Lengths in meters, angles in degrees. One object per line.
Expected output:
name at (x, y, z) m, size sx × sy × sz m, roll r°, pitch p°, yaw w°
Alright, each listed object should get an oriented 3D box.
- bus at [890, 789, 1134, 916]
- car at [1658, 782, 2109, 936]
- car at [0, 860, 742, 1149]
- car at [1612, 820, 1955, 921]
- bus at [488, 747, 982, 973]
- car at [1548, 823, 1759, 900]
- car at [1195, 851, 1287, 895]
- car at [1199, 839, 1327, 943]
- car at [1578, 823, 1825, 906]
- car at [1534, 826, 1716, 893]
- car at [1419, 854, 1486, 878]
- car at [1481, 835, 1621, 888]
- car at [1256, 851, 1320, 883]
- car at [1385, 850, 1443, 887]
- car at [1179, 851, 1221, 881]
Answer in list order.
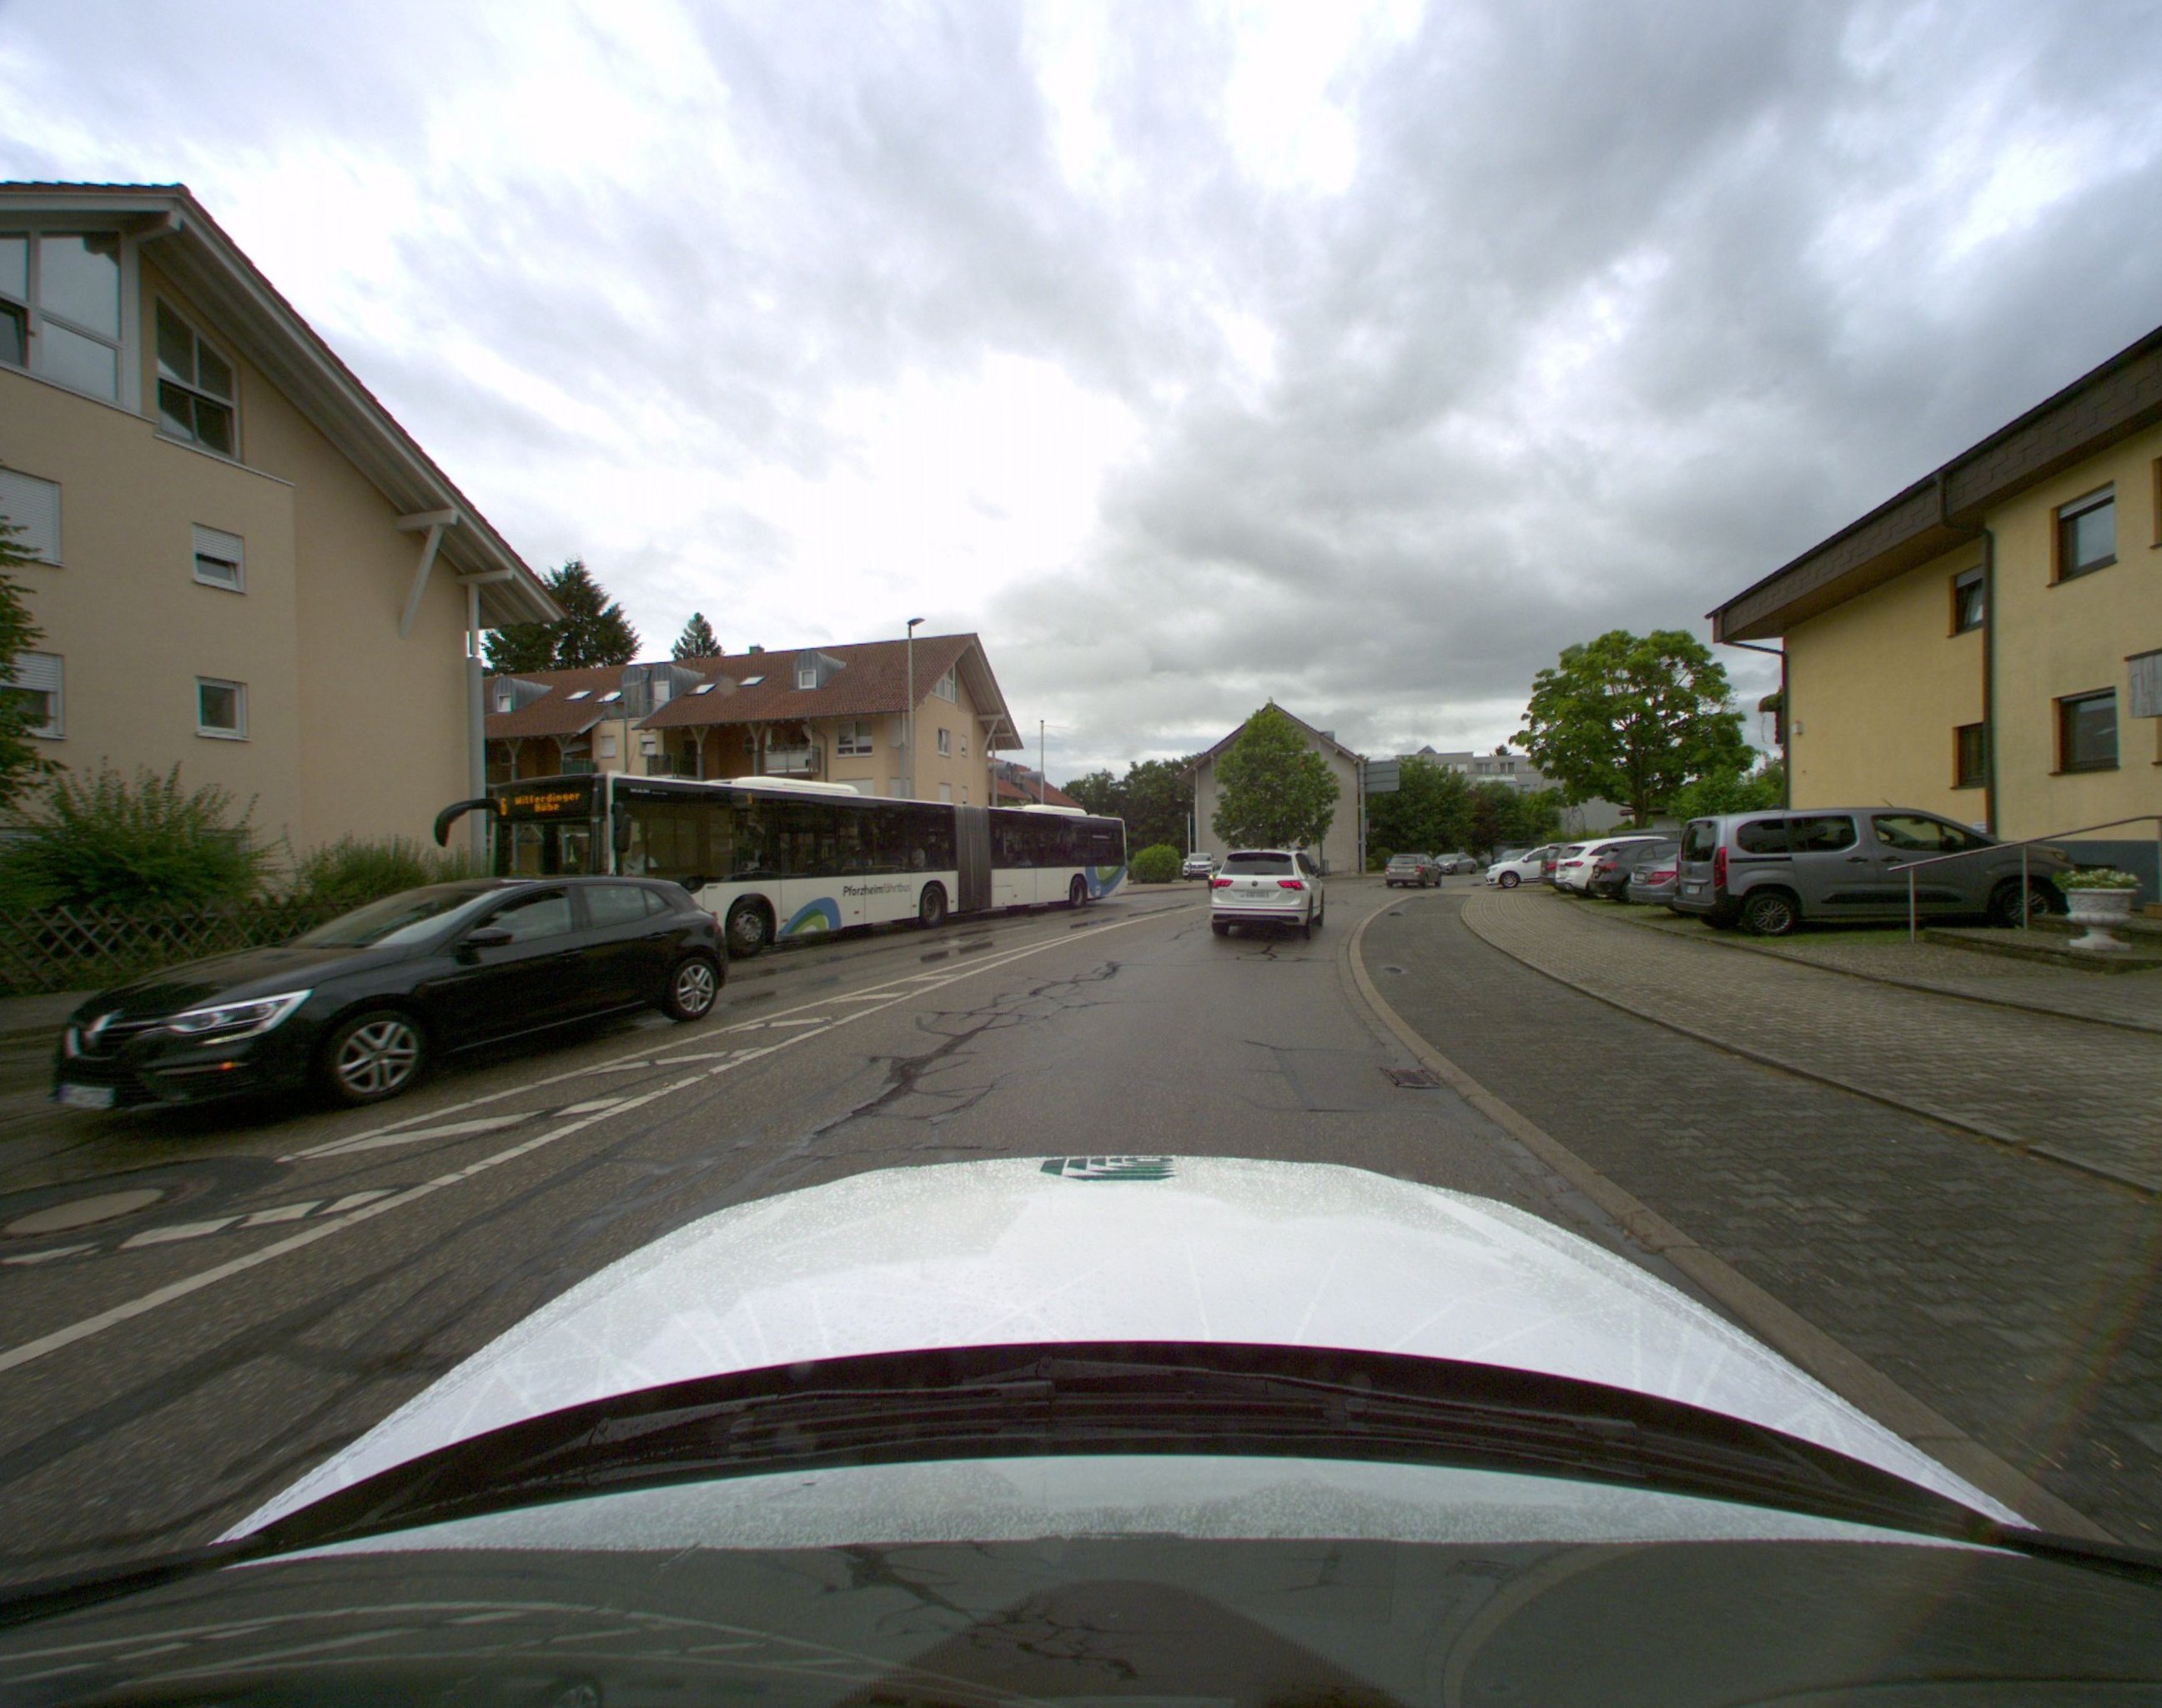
bus at (-1.551, -0.060, 23.561) m, size 2.561 × 3.000 × 8.458 m, roll -2°, pitch 0°, yaw 30°
car at (11.472, 0.124, 12.078) m, size 4.260 × 1.781 × 1.913 m, roll -5°, pitch -2°, yaw 17°
car at (-5.075, 0.845, 6.672) m, size 1.935 × 1.519 × 4.194 m, roll -1°, pitch 0°, yaw 18°
car at (12.471, 0.327, 14.807) m, size 4.326 × 1.423 × 1.703 m, roll -5°, pitch -2°, yaw 17°
bus at (-5.493, 0.068, 15.528) m, size 2.523 × 3.000 × 9.257 m, roll -2°, pitch 0°, yaw 25°
car at (14.710, 0.218, 21.217) m, size 4.012 × 1.597 × 1.904 m, roll -5°, pitch -2°, yaw 17°
car at (6.065, 0.651, 30.565) m, size 1.842 × 1.518 × 4.319 m, roll -1°, pitch 0°, yaw 34°
car at (3.796, 0.605, 16.367) m, size 1.905 × 1.722 × 4.287 m, roll 2°, pitch 2°, yaw 20°
car at (13.904, 0.260, 18.570) m, size 4.009 × 1.490 × 1.915 m, roll -5°, pitch -2°, yaw 21°
car at (15.858, 0.198, 24.020) m, size 4.011 × 1.597 × 1.914 m, roll -5°, pitch -2°, yaw 18°
car at (23.957, 0.744, 52.451) m, size 4.507 × 1.390 × 1.888 m, roll -1°, pitch 2°, yaw -34°
car at (17.415, 0.298, 30.419) m, size 4.300 × 1.597 × 1.776 m, roll -5°, pitch -2°, yaw 25°
car at (10.227, 0.627, 40.091) m, size 1.572 × 1.422 × 3.718 m, roll -2°, pitch 0°, yaw 39°
car at (14.710, 0.660, 35.893) m, size 1.748 × 1.510 × 4.024 m, roll 0°, pitch -2°, yaw 31°
car at (7.004, 0.711, 47.779) m, size 1.979 × 1.651 × 4.015 m, roll 1°, pitch -2°, yaw 15°
